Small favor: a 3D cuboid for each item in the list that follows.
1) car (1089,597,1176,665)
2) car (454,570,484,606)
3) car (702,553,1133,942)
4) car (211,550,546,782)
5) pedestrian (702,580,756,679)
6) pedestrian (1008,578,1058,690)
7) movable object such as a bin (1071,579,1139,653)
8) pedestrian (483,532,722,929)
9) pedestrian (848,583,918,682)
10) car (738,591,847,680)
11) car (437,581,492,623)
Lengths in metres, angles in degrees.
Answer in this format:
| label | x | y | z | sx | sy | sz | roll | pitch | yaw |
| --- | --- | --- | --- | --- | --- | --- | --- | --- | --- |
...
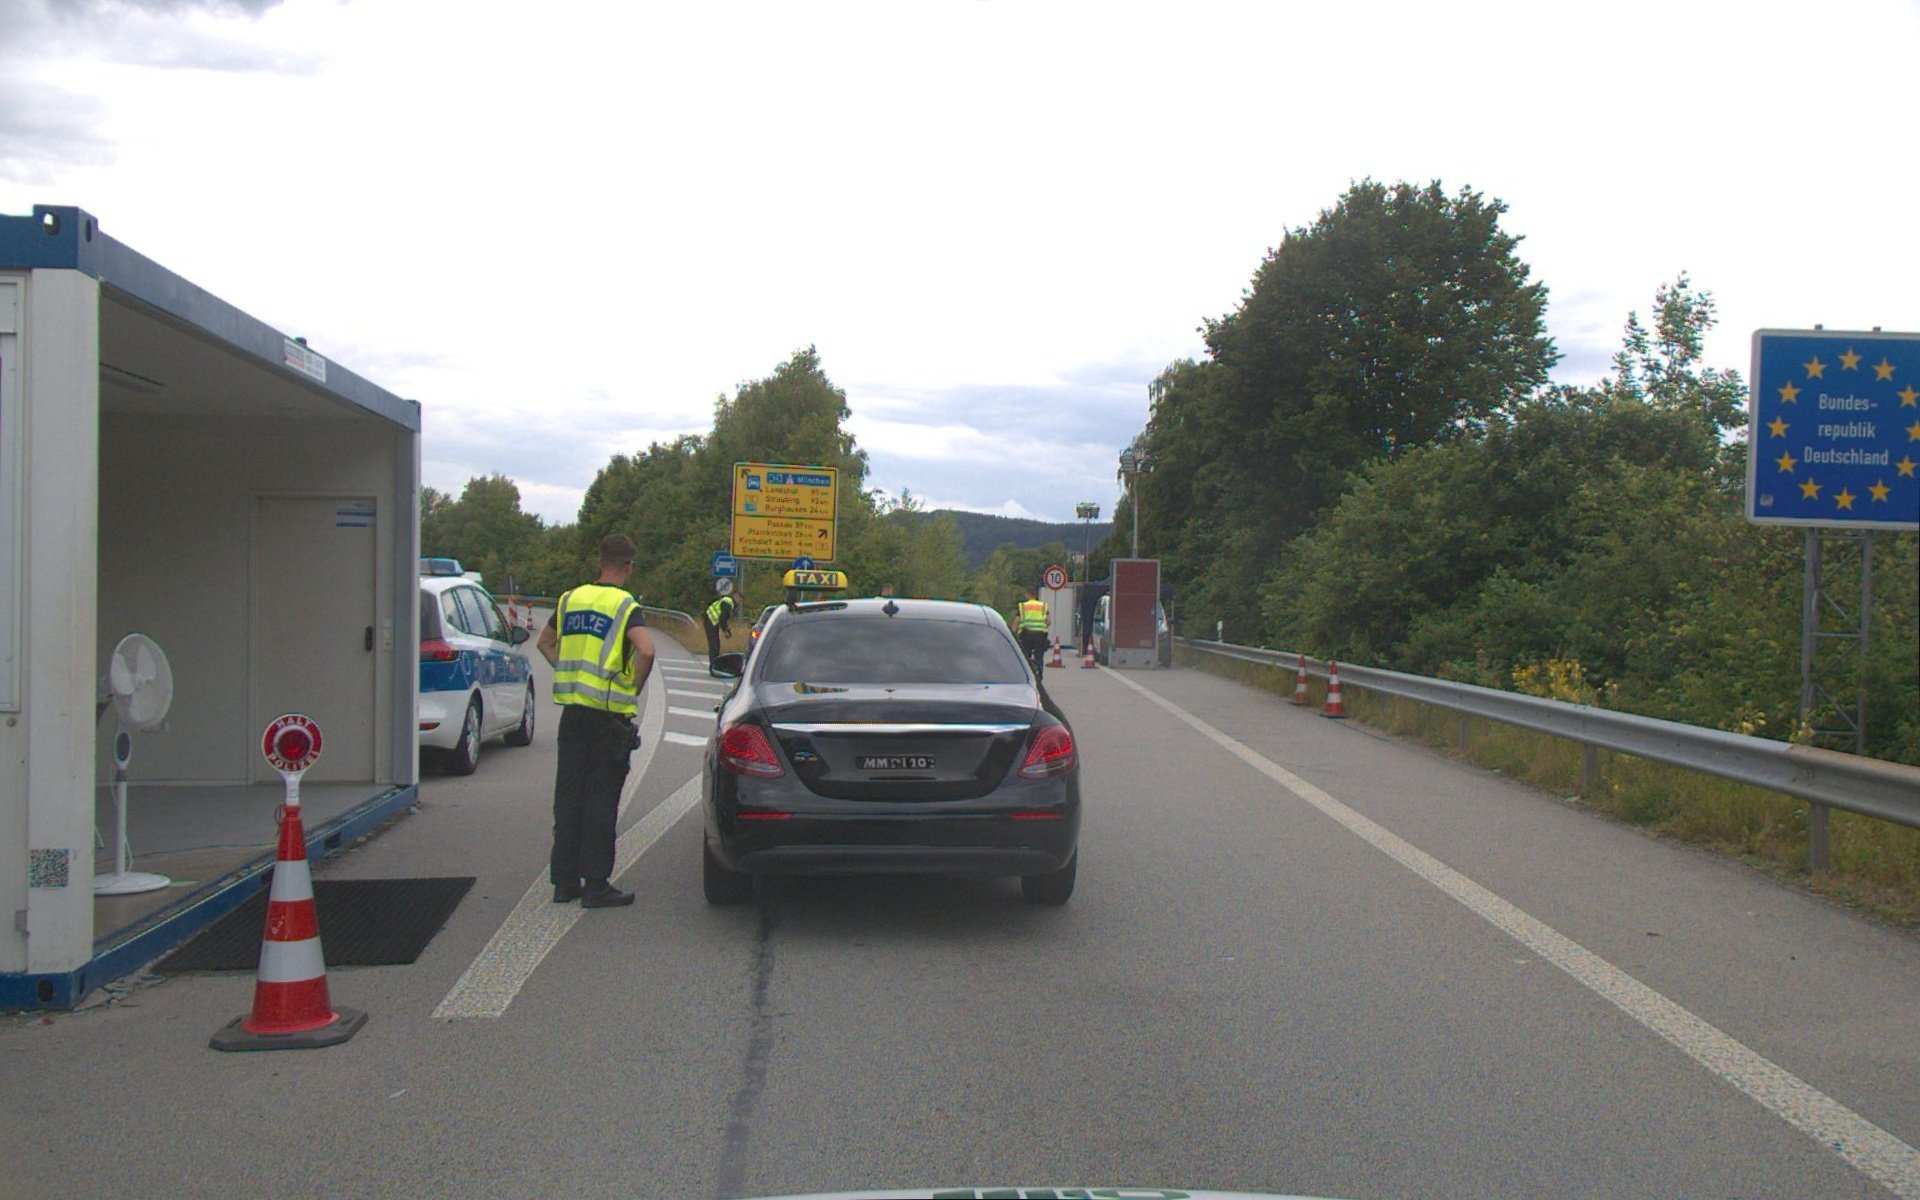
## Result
| label | x | y | z | sx | sy | sz | roll | pitch | yaw |
| --- | --- | --- | --- | --- | --- | --- | --- | --- | --- |
| car | 4.707 | 0.804 | 45.716 | 1.877 | 1.707 | 5.083 | 2 | 0 | 1 |
| car | -31.835 | -0.754 | 107.257 | 1.825 | 2.261 | 4.237 | 1 | 0 | -16 |
| car | -0.369 | 0.619 | 9.184 | 1.819 | 1.623 | 4.370 | 1 | 0 | -5 |
| car | -4.978 | 0.507 | 14.752 | 1.832 | 1.774 | 4.004 | 1 | 0 | -5 |
| pedestrian | -4.265 | 0.536 | 30.576 | 0.893 | 1.800 | 0.911 | 1 | 0 | -4 |
| pedestrian | 1.228 | 0.568 | 27.923 | 0.796 | 1.862 | 0.809 | 0 | 0 | -1 |
| movable object such as a bin | 4.739 | 0.492 | 54.522 | 1.952 | 2.320 | 4.168 | 1 | 0 | 1 |
| pedestrian | -1.685 | 0.574 | 7.831 | 0.747 | 1.748 | 0.815 | 0 | 0 | 36 |
| pedestrian | -1.360 | 0.566 | 29.289 | 0.900 | 1.727 | 0.903 | 1 | 0 | -32 |
| car | -3.020 | 0.612 | 30.590 | 1.818 | 1.524 | 4.253 | 1 | 0 | -4 |
| car | -18.849 | 0.067 | 62.998 | 1.824 | 1.524 | 4.240 | 1 | 0 | -15 |
